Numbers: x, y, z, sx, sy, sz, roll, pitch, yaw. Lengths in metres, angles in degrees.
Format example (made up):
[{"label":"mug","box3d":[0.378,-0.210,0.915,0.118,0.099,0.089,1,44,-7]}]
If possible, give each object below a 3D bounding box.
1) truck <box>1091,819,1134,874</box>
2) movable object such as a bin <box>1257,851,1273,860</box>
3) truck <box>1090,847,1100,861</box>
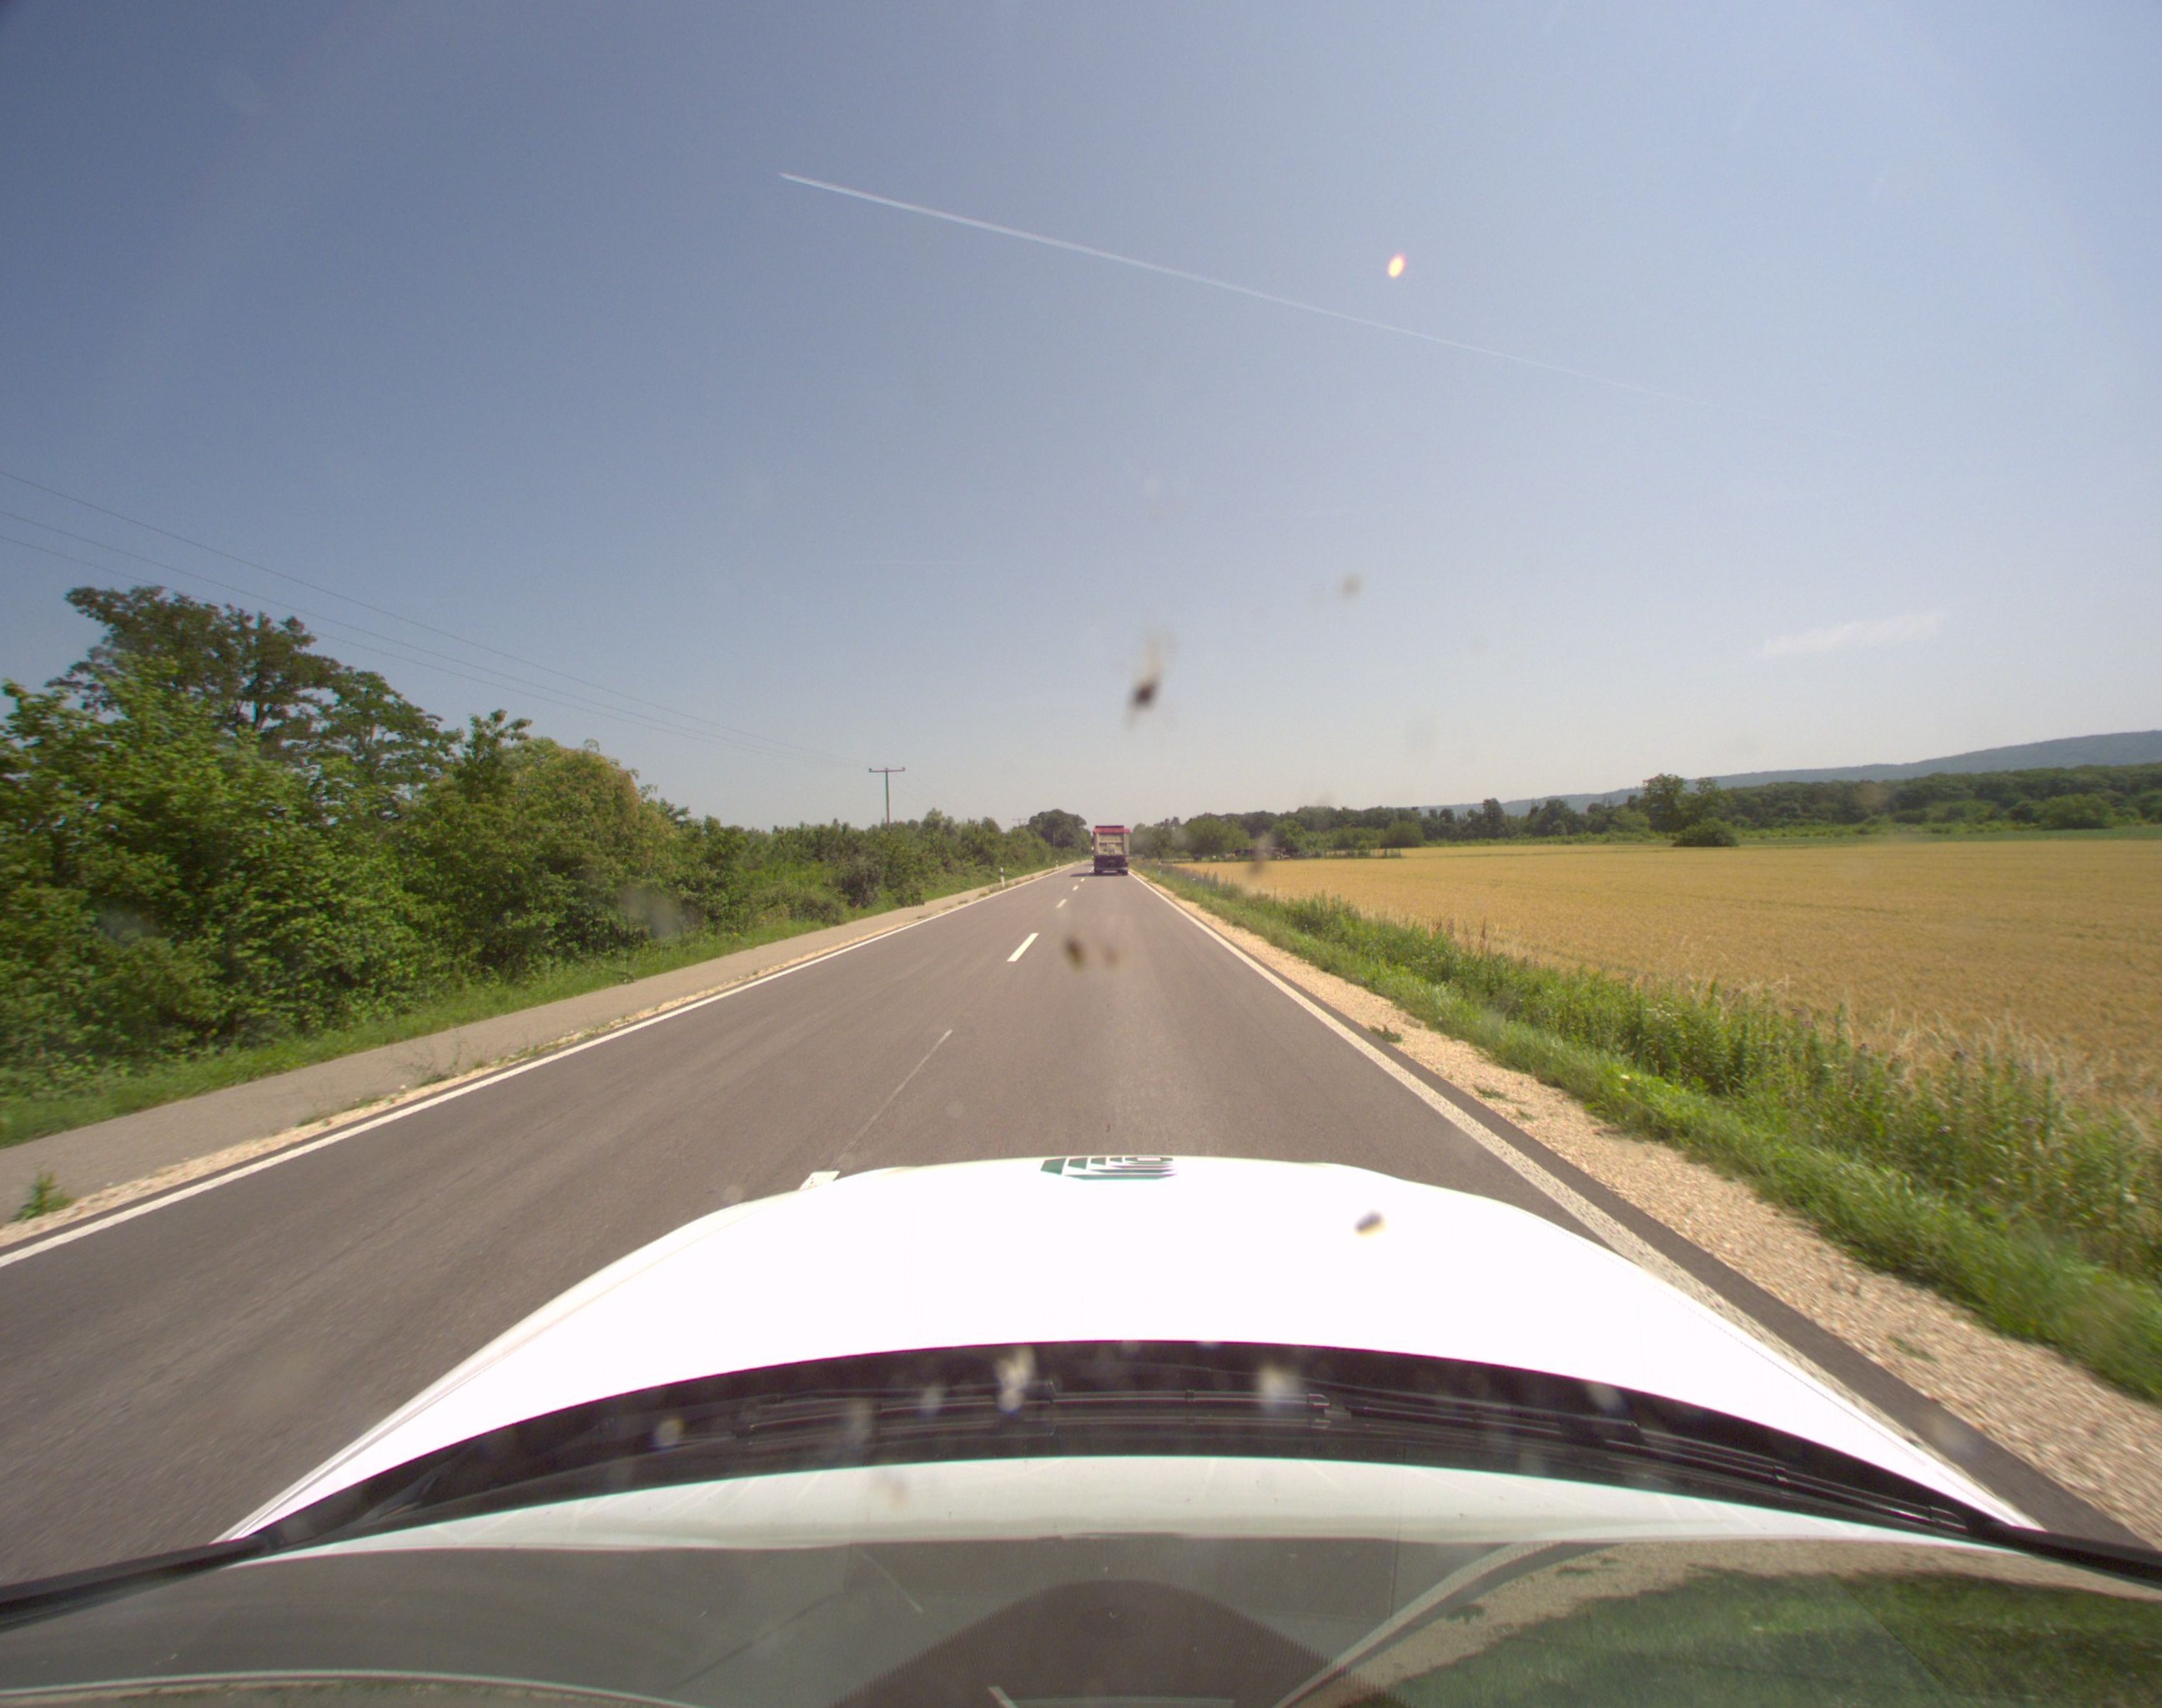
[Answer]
[{"label":"truck","box3d":[2.427,-0.463,63.693,2.998,3.874,12.213,0,0,2]},{"label":"movable object such as a bin","box3d":[31.237,0.265,138.285,1.567,1.496,3.655,-1,0,-3]},{"label":"truck","box3d":[4.573,-0.061,261.712,2.707,4.266,7.392,-3,0,2]}]
